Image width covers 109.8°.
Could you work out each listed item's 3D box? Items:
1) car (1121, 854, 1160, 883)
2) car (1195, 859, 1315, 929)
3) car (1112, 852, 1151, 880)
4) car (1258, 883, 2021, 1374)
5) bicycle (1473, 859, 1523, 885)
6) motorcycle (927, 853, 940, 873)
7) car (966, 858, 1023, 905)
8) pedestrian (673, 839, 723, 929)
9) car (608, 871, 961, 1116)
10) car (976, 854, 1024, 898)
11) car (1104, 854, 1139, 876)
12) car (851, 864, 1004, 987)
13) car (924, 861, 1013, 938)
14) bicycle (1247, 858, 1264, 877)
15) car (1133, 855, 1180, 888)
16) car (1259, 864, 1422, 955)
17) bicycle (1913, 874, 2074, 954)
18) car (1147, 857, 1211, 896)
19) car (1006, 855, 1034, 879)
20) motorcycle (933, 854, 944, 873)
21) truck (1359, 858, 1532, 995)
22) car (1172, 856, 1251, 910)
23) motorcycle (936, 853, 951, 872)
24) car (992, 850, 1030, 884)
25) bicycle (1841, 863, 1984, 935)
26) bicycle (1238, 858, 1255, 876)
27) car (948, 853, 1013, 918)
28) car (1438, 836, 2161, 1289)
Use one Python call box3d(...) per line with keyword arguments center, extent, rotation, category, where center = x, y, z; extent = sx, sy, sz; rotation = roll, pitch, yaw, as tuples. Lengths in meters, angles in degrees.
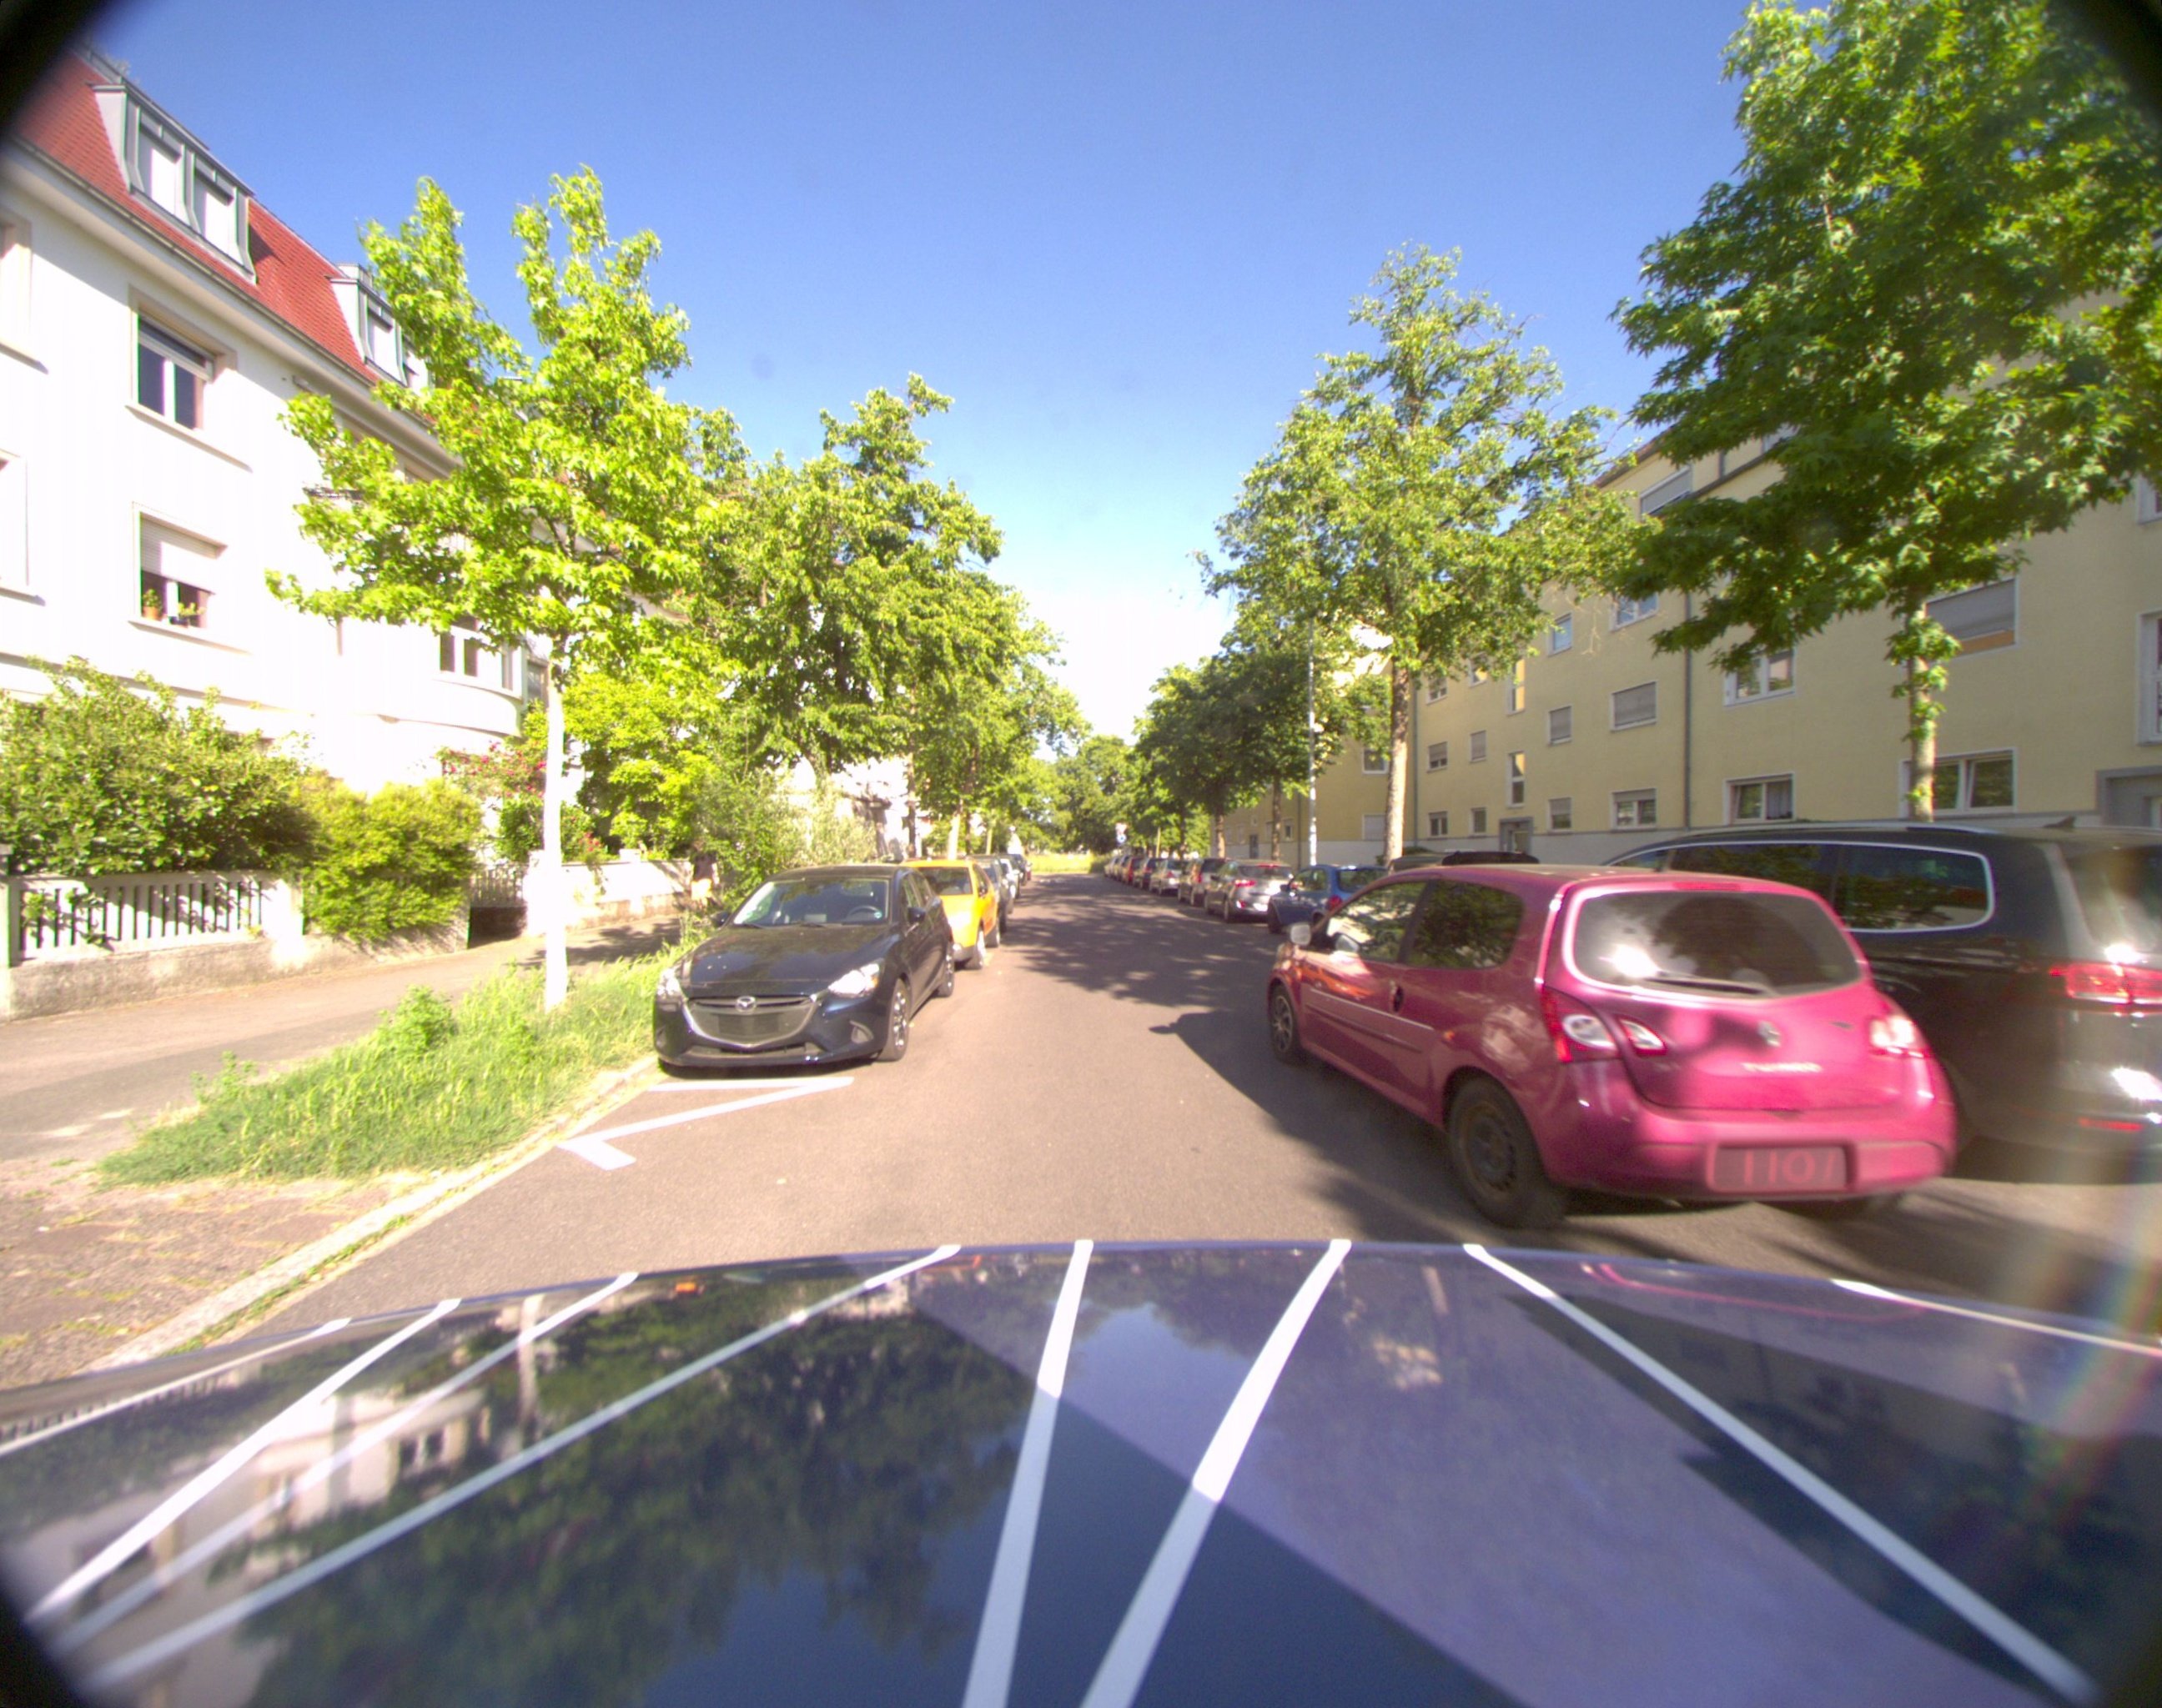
box3d(center=(3.151, 0.737, 40.713), extent=(1.669, 1.477, 3.255), rotation=(0, 0, -2), category="car")
box3d(center=(4.129, 0.891, 18.813), extent=(1.796, 1.436, 4.687), rotation=(1, 0, -1), category="car")
box3d(center=(2.935, 0.677, 45.289), extent=(1.696, 1.556, 4.733), rotation=(0, 0, -4), category="car")
box3d(center=(2.228, 0.932, 4.052), extent=(1.510, 1.418, 3.175), rotation=(0, 0, -6), category="car")
box3d(center=(15.006, 0.646, 27.331), extent=(1.638, 0.925, 0.480), rotation=(0, 1, -11), category="bicycle")
box3d(center=(-9.993, 0.608, 51.378), extent=(0.540, 1.353, 2.088), rotation=(0, 0, -3), category="motorcycle")
box3d(center=(-2.894, 0.881, 26.238), extent=(1.634, 1.417, 4.366), rotation=(0, 0, -2), category="car")
box3d(center=(-7.721, 0.586, 15.352), extent=(0.624, 1.764, 0.799), rotation=(1, 1, -3), category="pedestrian")
box3d(center=(-2.200, 0.931, 6.864), extent=(1.705, 1.440, 4.081), rotation=(0, 0, -2), category="car")
box3d(center=(-3.205, 0.821, 30.822), extent=(1.689, 1.579, 4.533), rotation=(-2, 0, -4), category="car")
box3d(center=(2.693, 0.732, 51.704), extent=(1.765, 1.434, 3.992), rotation=(0, 0, -6), category="car")
box3d(center=(-2.097, 0.913, 11.436), extent=(1.641, 1.446, 4.098), rotation=(0, 0, -3), category="car")
box3d(center=(-2.334, 0.902, 16.492), extent=(1.654, 1.420, 3.611), rotation=(0, 0, -4), category="car")
box3d(center=(9.734, 0.762, 42.350), extent=(0.537, 1.021, 1.748), rotation=(0, 0, -1), category="bicycle")
box3d(center=(3.493, 0.787, 35.826), extent=(1.669, 1.450, 3.931), rotation=(0, 0, -2), category="car")
box3d(center=(4.579, 0.905, 13.985), extent=(1.525, 1.387, 3.725), rotation=(0, 0, -4), category="car")
box3d(center=(12.867, 0.824, 10.726), extent=(1.845, 1.075, 0.486), rotation=(0, 1, -6), category="bicycle")
box3d(center=(3.825, 0.849, 30.360), extent=(1.750, 1.361, 4.672), rotation=(1, 0, -2), category="car")
box3d(center=(-3.804, 0.745, 47.168), extent=(1.616, 1.401, 4.349), rotation=(0, 0, -6), category="car")
box3d(center=(-10.059, 0.644, 53.739), extent=(0.658, 1.272, 1.798), rotation=(1, 0, -9), category="motorcycle")
box3d(center=(4.641, 0.839, 9.958), extent=(1.087, 1.568, 2.431), rotation=(0, 0, 0), category="truck")
box3d(center=(4.080, 0.851, 24.429), extent=(1.625, 1.506, 4.268), rotation=(2, 0, -2), category="car")
box3d(center=(-10.057, 0.620, 55.611), extent=(0.973, 1.321, 1.851), rotation=(-1, 1, -8), category="motorcycle")
box3d(center=(-3.639, 0.667, 40.069), extent=(1.786, 1.688, 4.296), rotation=(0, 0, -3), category="car")
box3d(center=(13.839, 0.739, 12.662), extent=(1.844, 1.075, 0.486), rotation=(-2, 2, 1), category="bicycle")
box3d(center=(9.643, 0.761, 44.281), extent=(0.541, 1.021, 1.748), rotation=(0, 0, -1), category="bicycle")
box3d(center=(-2.790, 0.804, 21.594), extent=(1.653, 1.646, 3.845), rotation=(-1, 0, -6), category="car")
box3d(center=(4.725, 0.799, 5.327), extent=(1.854, 1.671, 4.975), rotation=(2, 0, -3), category="car")
